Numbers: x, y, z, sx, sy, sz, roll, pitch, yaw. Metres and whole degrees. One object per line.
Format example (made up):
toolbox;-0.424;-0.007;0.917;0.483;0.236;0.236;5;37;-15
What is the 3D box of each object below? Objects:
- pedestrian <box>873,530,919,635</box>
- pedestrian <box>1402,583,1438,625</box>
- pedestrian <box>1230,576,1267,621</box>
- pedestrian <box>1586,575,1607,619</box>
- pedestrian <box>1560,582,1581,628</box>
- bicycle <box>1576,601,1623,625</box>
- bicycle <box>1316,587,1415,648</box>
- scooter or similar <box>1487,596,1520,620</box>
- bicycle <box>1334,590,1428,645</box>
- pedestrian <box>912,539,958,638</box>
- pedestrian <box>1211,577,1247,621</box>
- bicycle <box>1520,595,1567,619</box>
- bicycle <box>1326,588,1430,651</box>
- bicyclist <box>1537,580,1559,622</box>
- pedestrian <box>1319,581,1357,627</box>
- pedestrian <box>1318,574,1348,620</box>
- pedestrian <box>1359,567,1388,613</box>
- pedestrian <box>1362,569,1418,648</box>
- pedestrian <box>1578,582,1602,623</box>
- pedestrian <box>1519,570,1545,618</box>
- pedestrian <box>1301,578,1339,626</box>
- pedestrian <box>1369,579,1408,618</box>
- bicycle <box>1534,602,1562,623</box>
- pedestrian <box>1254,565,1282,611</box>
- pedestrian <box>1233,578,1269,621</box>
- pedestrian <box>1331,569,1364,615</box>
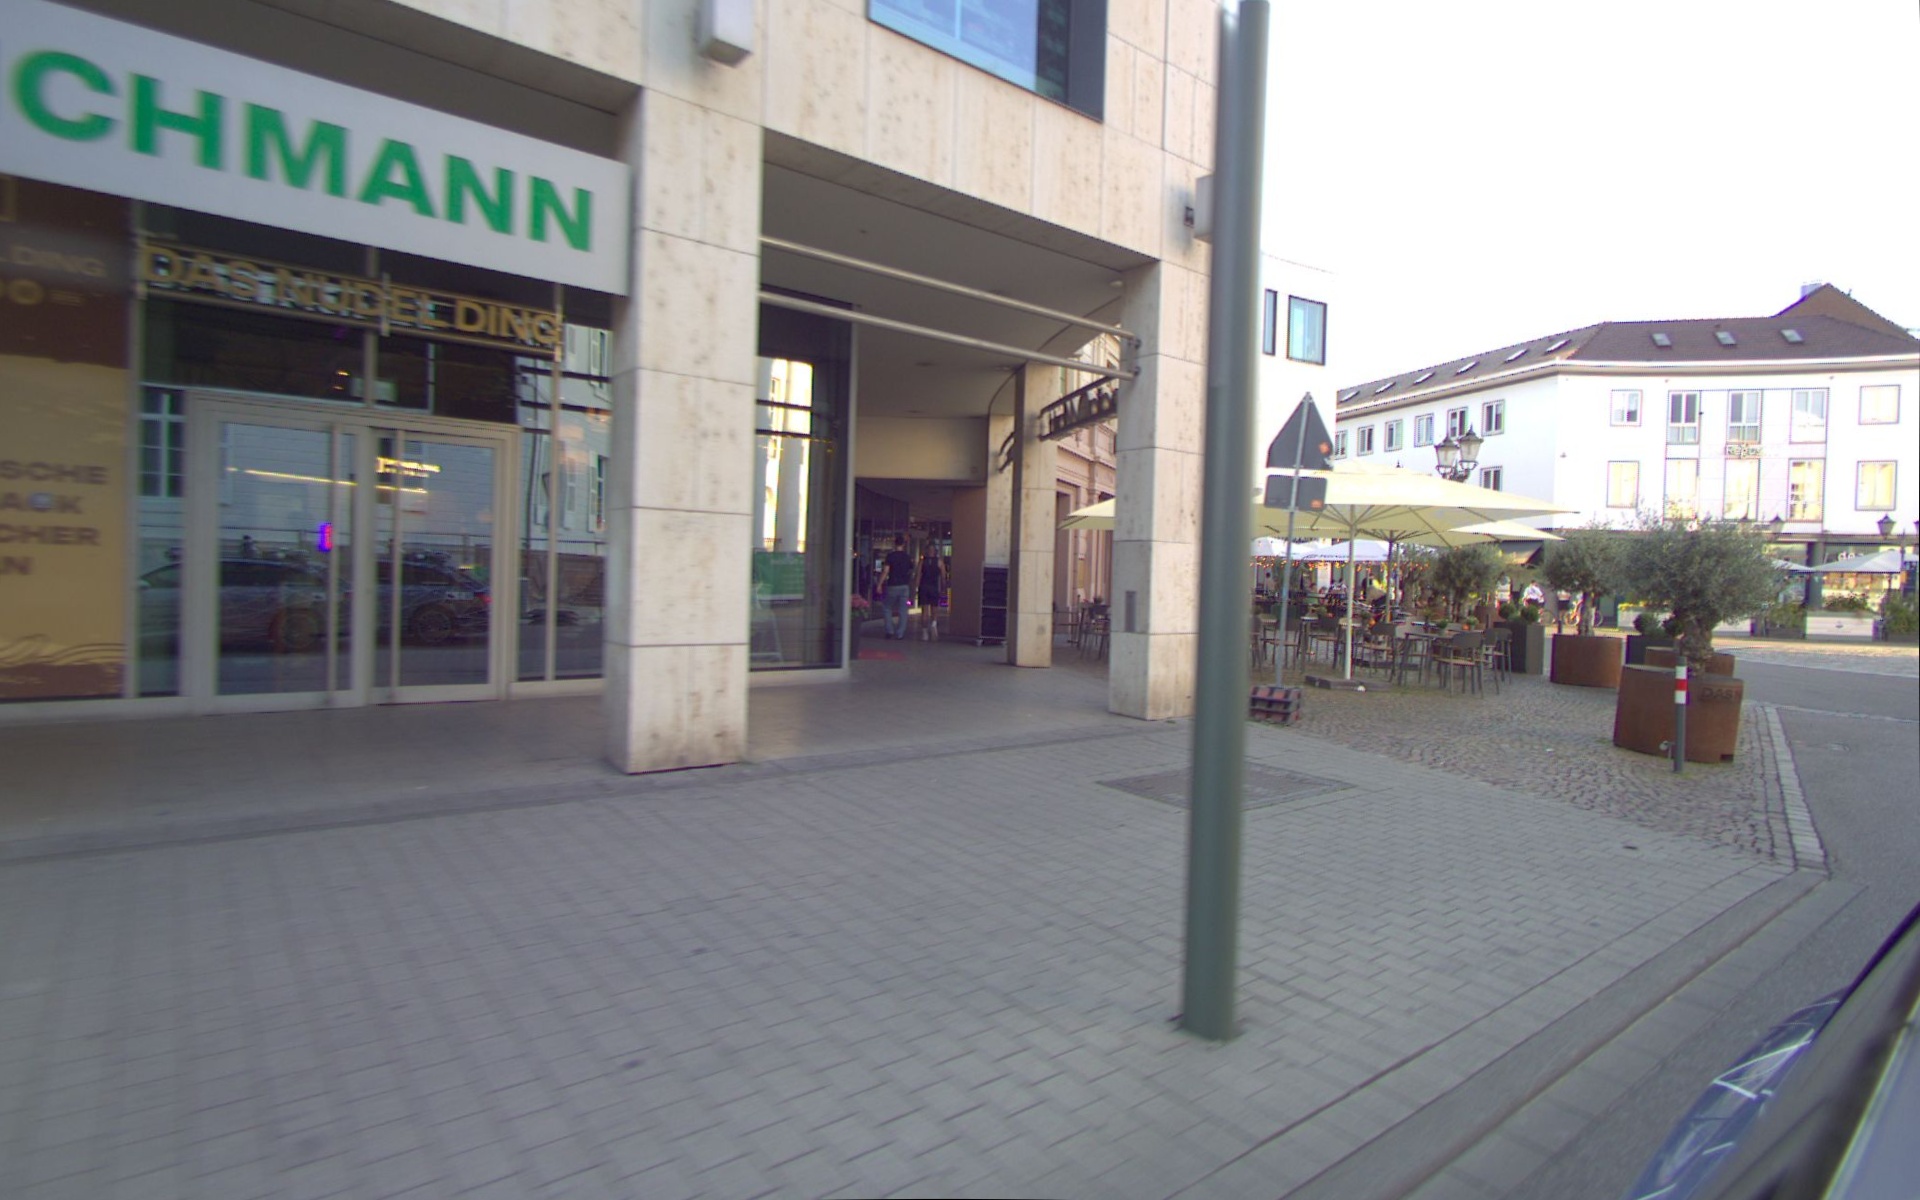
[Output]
pedestrian;-1.188;-0.323;18.672;0.655;1.885;0.720;1;1;-16
pedestrian;16.270;0.136;35.779;0.847;1.465;0.725;1;1;-15
pedestrian;9.571;-0.047;33.550;0.835;1.465;0.776;1;1;-24
pedestrian;26.594;-0.125;42.281;0.705;1.841;0.509;1;1;-37
pedestrian;26.585;0.213;44.056;0.533;1.947;0.580;1;1;-37
bicycle;26.678;0.539;42.237;1.645;0.946;0.474;2;1;-1
bicycle;8.513;0.366;21.240;1.866;1.142;0.609;3;0;-14
scooter or similar;23.552;0.339;43.867;1.180;1.024;0.488;1;1;-7
bicycle;9.764;0.402;23.507;1.869;1.142;0.608;3;0;-2
pedestrian;-0.463;-0.218;18.625;0.655;1.767;0.720;1;1;-16
pedestrian;9.128;-0.040;34.305;0.835;1.465;0.776;1;1;-23
bicycle;24.048;0.280;41.730;1.645;0.946;0.474;2;1;-1
bicycle;8.311;0.383;20.136;1.866;1.142;0.609;3;0;-14
bicyclist;24.885;0.053;42.834;0.819;1.765;0.482;1;1;-36
pedestrian;12.208;0.124;32.694;0.847;1.465;0.725;1;1;-15
pedestrian;15.035;-0.127;40.760;0.833;1.825;0.730;1;1;-30
pedestrian;15.924;-0.389;38.980;0.696;1.769;0.717;1;1;-33
pedestrian;8.902;0.167;20.944;0.699;1.608;0.751;1;1;-21
pedestrian;26.885;0.113;43.199;0.720;1.697;0.620;1;1;-37
pedestrian;23.658;-0.241;41.834;0.615;1.952;0.647;1;1;-15
pedestrian;11.417;0.055;32.133;0.847;1.465;0.725;1;1;-15
pedestrian;16.585;-0.054;39.155;0.926;1.465;0.973;1;1;-23
bicycle;24.888;0.526;42.838;1.456;0.859;0.482;1;1;-36
pedestrian;12.089;-0.482;39.748;0.702;1.769;0.710;1;1;-32
pedestrian;9.986;-0.019;34.758;0.835;1.465;0.776;1;1;-23
pedestrian;15.382;-0.316;40.185;0.962;1.825;0.729;1;1;-32
